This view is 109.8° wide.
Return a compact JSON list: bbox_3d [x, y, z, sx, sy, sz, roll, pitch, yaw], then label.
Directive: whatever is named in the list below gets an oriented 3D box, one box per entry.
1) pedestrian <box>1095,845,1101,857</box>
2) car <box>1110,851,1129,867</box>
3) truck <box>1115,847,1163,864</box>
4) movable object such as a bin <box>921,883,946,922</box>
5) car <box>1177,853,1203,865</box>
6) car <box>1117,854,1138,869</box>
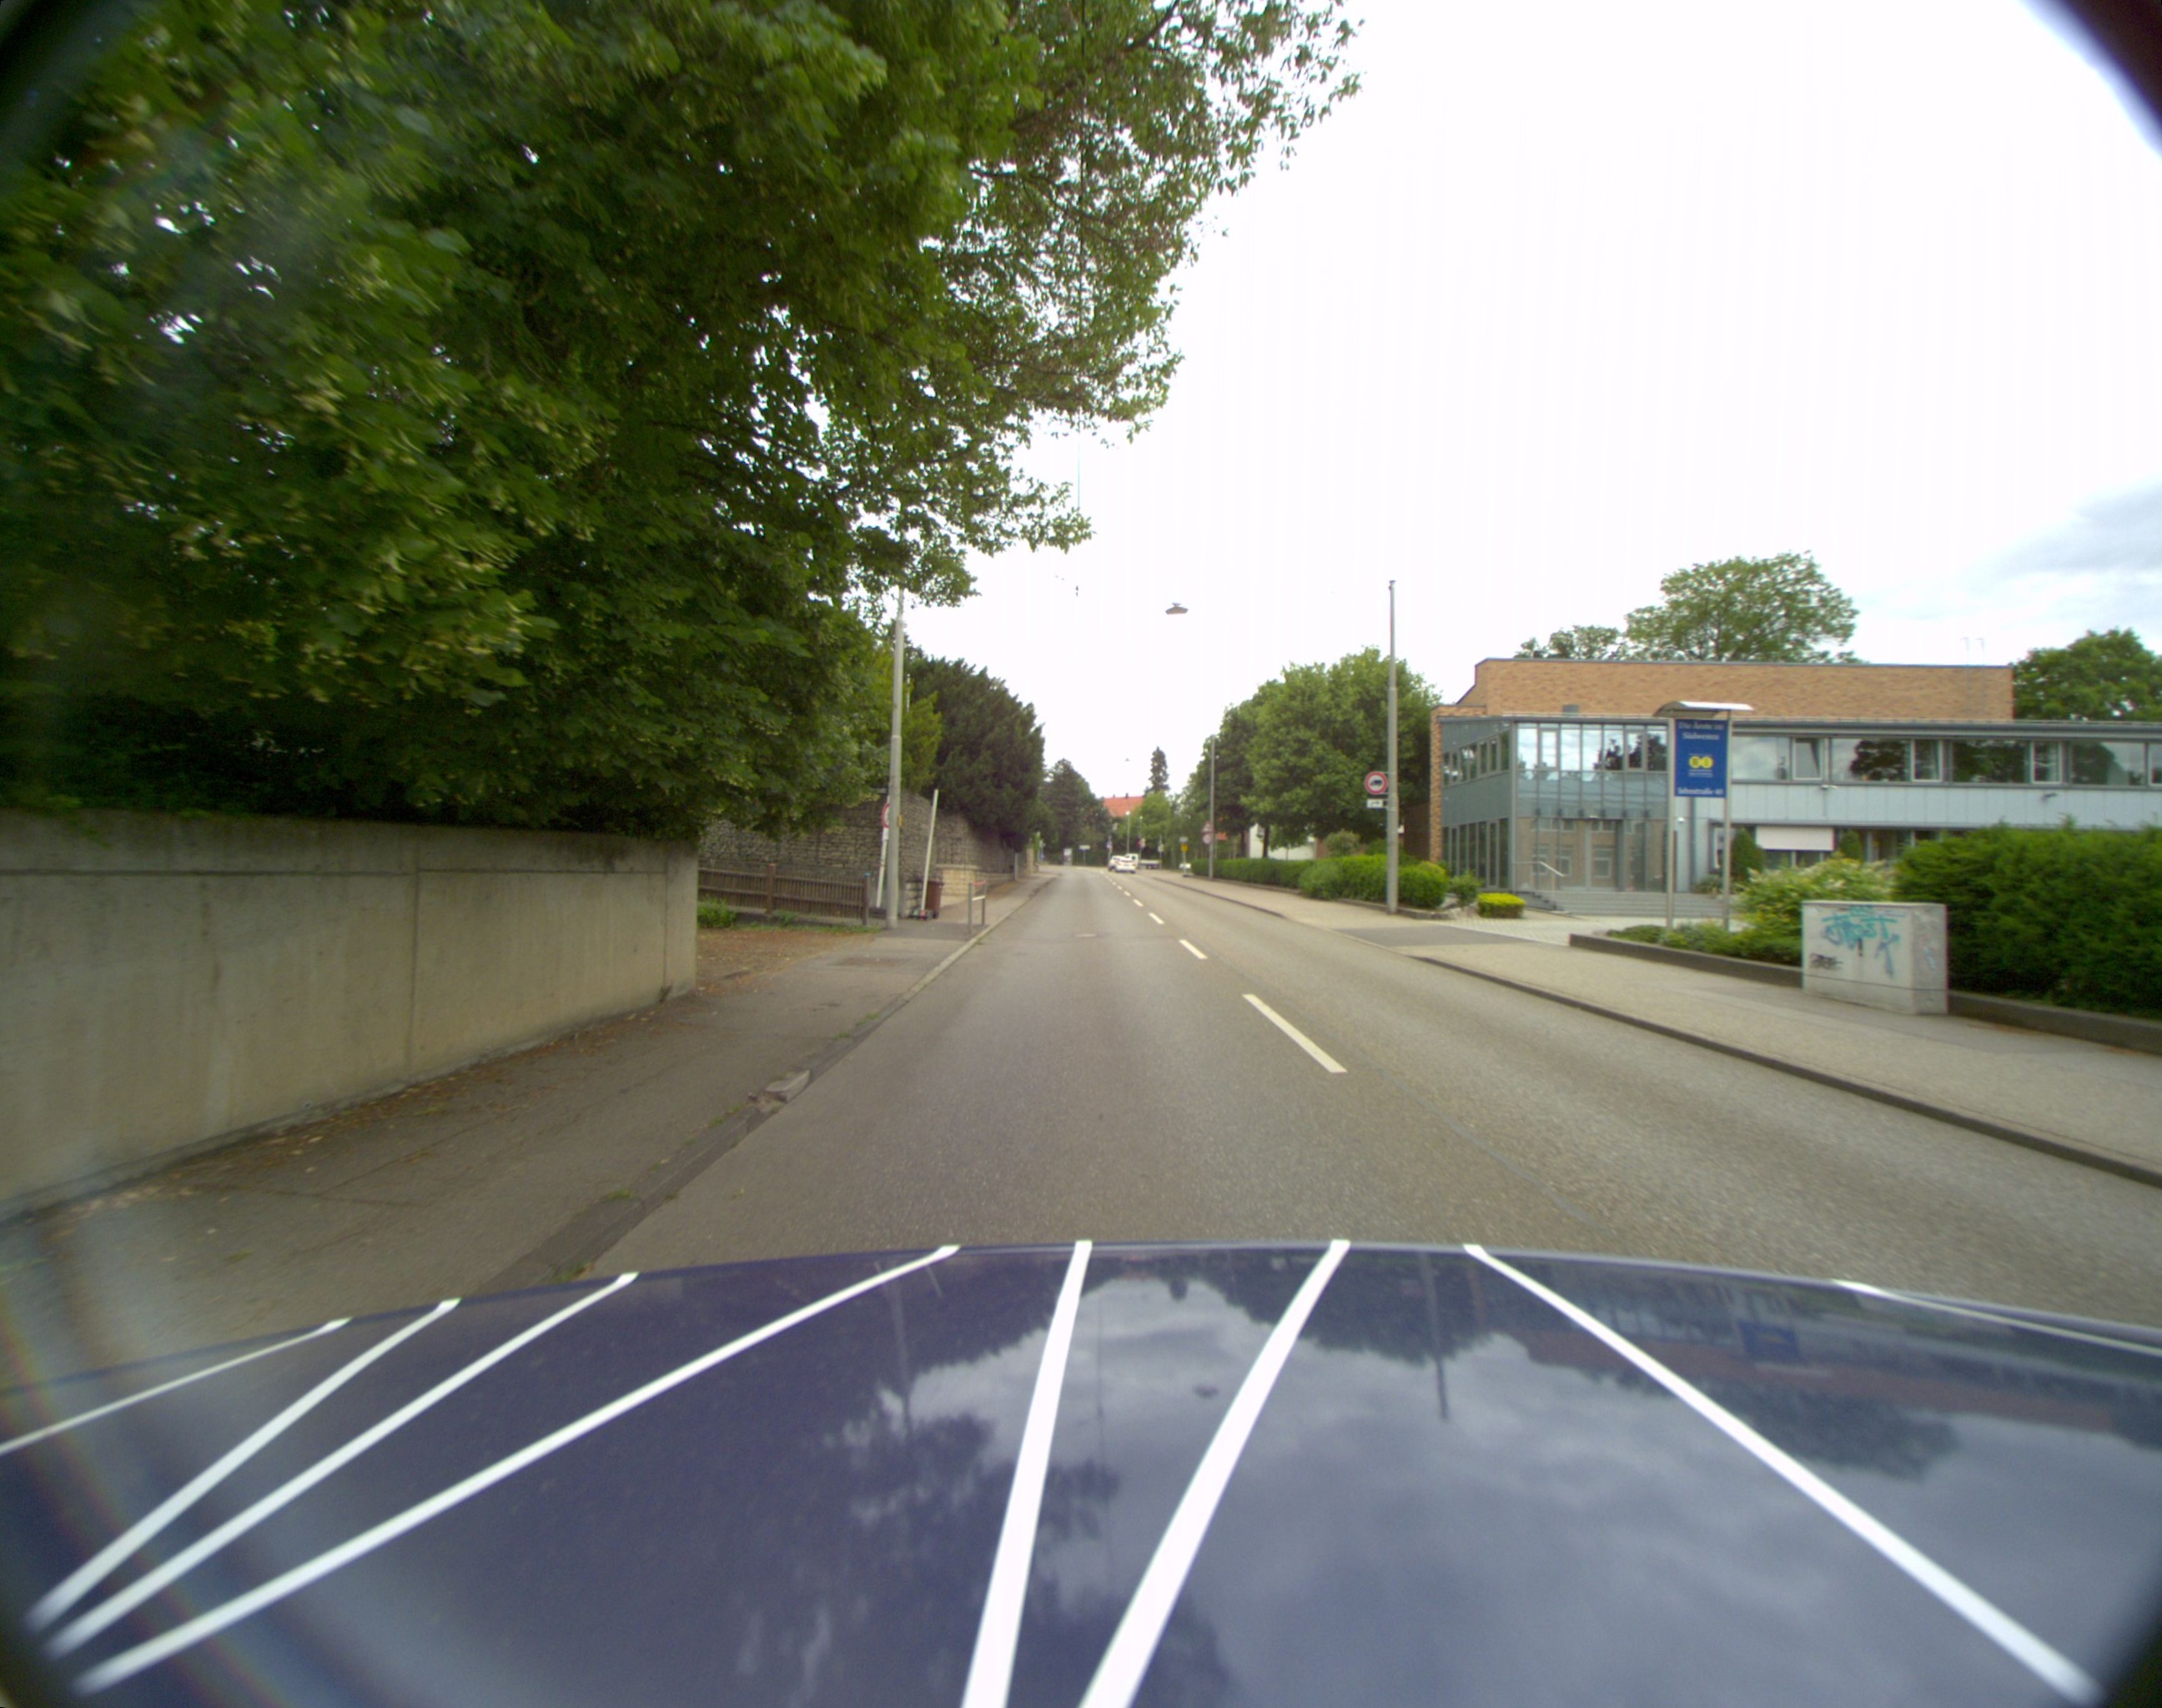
[{"bbox_3d":[2.641,-0.402,114.995,0.665,1.777,0.614,2,0,21],"label":"pedestrian"},{"bbox_3d":[4.057,0.530,80.119,1.773,1.628,4.301,0,0,0],"label":"car"},{"bbox_3d":[8.539,0.164,111.819,6.706,2.176,2.532,2,1,11],"label":"truck"},{"bbox_3d":[-3.474,1.141,17.943,0.446,0.904,0.394,2,0,10],"label":"movable object such as a bin"},{"bbox_3d":[16.426,0.757,114.304,1.994,1.603,4.009,2,0,38],"label":"car"},{"bbox_3d":[4.421,0.703,73.062,1.771,1.413,4.065,1,0,1],"label":"car"}]
